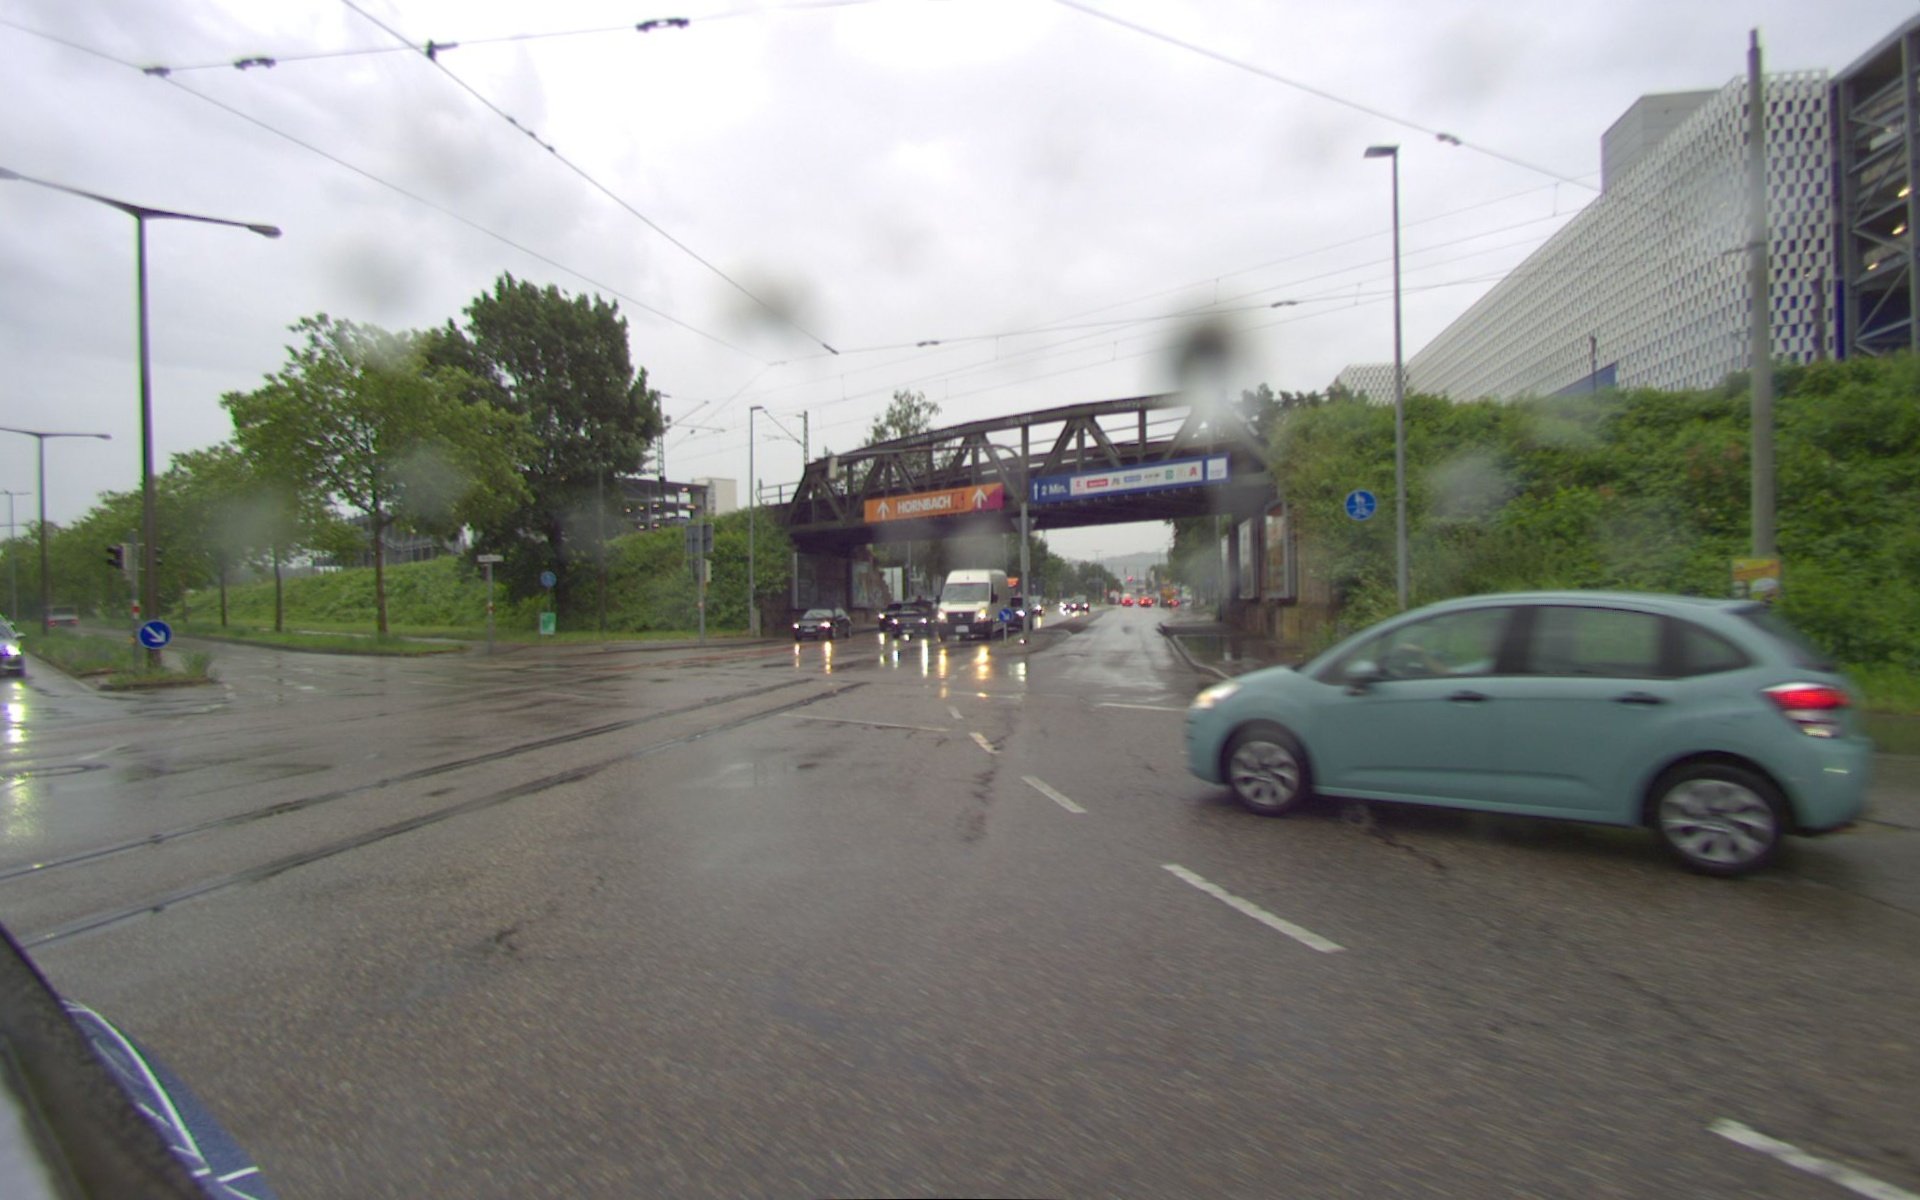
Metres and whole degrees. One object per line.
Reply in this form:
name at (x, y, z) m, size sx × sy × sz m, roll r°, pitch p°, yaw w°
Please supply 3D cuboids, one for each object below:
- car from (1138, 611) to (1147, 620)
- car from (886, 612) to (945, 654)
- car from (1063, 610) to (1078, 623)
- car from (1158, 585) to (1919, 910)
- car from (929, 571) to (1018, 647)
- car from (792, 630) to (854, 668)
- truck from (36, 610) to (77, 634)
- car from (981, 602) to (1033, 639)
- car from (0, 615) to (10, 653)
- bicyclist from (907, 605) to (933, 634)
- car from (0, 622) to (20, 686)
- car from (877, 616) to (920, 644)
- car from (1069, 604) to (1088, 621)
car at (33.412, 2.774, 185.598) m, size 1.636 × 1.612 × 3.898 m, roll -1°, pitch 0°, yaw 10°
car at (-1.803, 1.327, 41.837) m, size 1.636 × 1.612 × 3.898 m, roll -1°, pitch 0°, yaw 10°
car at (14.131, 2.134, 129.715) m, size 1.636 × 1.612 × 3.898 m, roll -1°, pitch 0°, yaw 10°
car at (3.438, 0.709, 6.521) m, size 3.962 × 1.484 × 1.621 m, roll -1°, pitch -1°, yaw 40°
car at (0.654, 0.332, 39.132) m, size 2.361 × 2.630 × 6.957 m, roll -1°, pitch 0°, yaw 10°
car at (-5.965, 2.128, 44.489) m, size 1.673 × 1.445 × 4.138 m, roll -2°, pitch -1°, yaw 7°
truck at (-91.889, 2.227, 102.888) m, size 6.866 × 2.383 × 2.448 m, roll -1°, pitch 0°, yaw 42°
car at (2.254, 0.892, 47.177) m, size 1.861 × 1.612 × 4.939 m, roll -1°, pitch 0°, yaw 9°
car at (-42.964, 1.541, 44.301) m, size 4.149 × 1.624 × 1.806 m, roll -1°, pitch 2°, yaw 45°
bicyclist at (-2.071, 1.003, 52.606) m, size 1.140 × 1.495 × 1.054 m, roll -1°, pitch -1°, yaw 10°
car at (-26.256, 1.449, 26.775) m, size 4.823 × 1.586 × 1.750 m, roll -1°, pitch 2°, yaw 45°
car at (-3.487, 1.682, 57.670) m, size 1.673 × 1.445 × 4.138 m, roll -2°, pitch -1°, yaw 7°
car at (11.525, 1.210, 98.232) m, size 1.636 × 1.612 × 3.898 m, roll -1°, pitch 0°, yaw 10°
